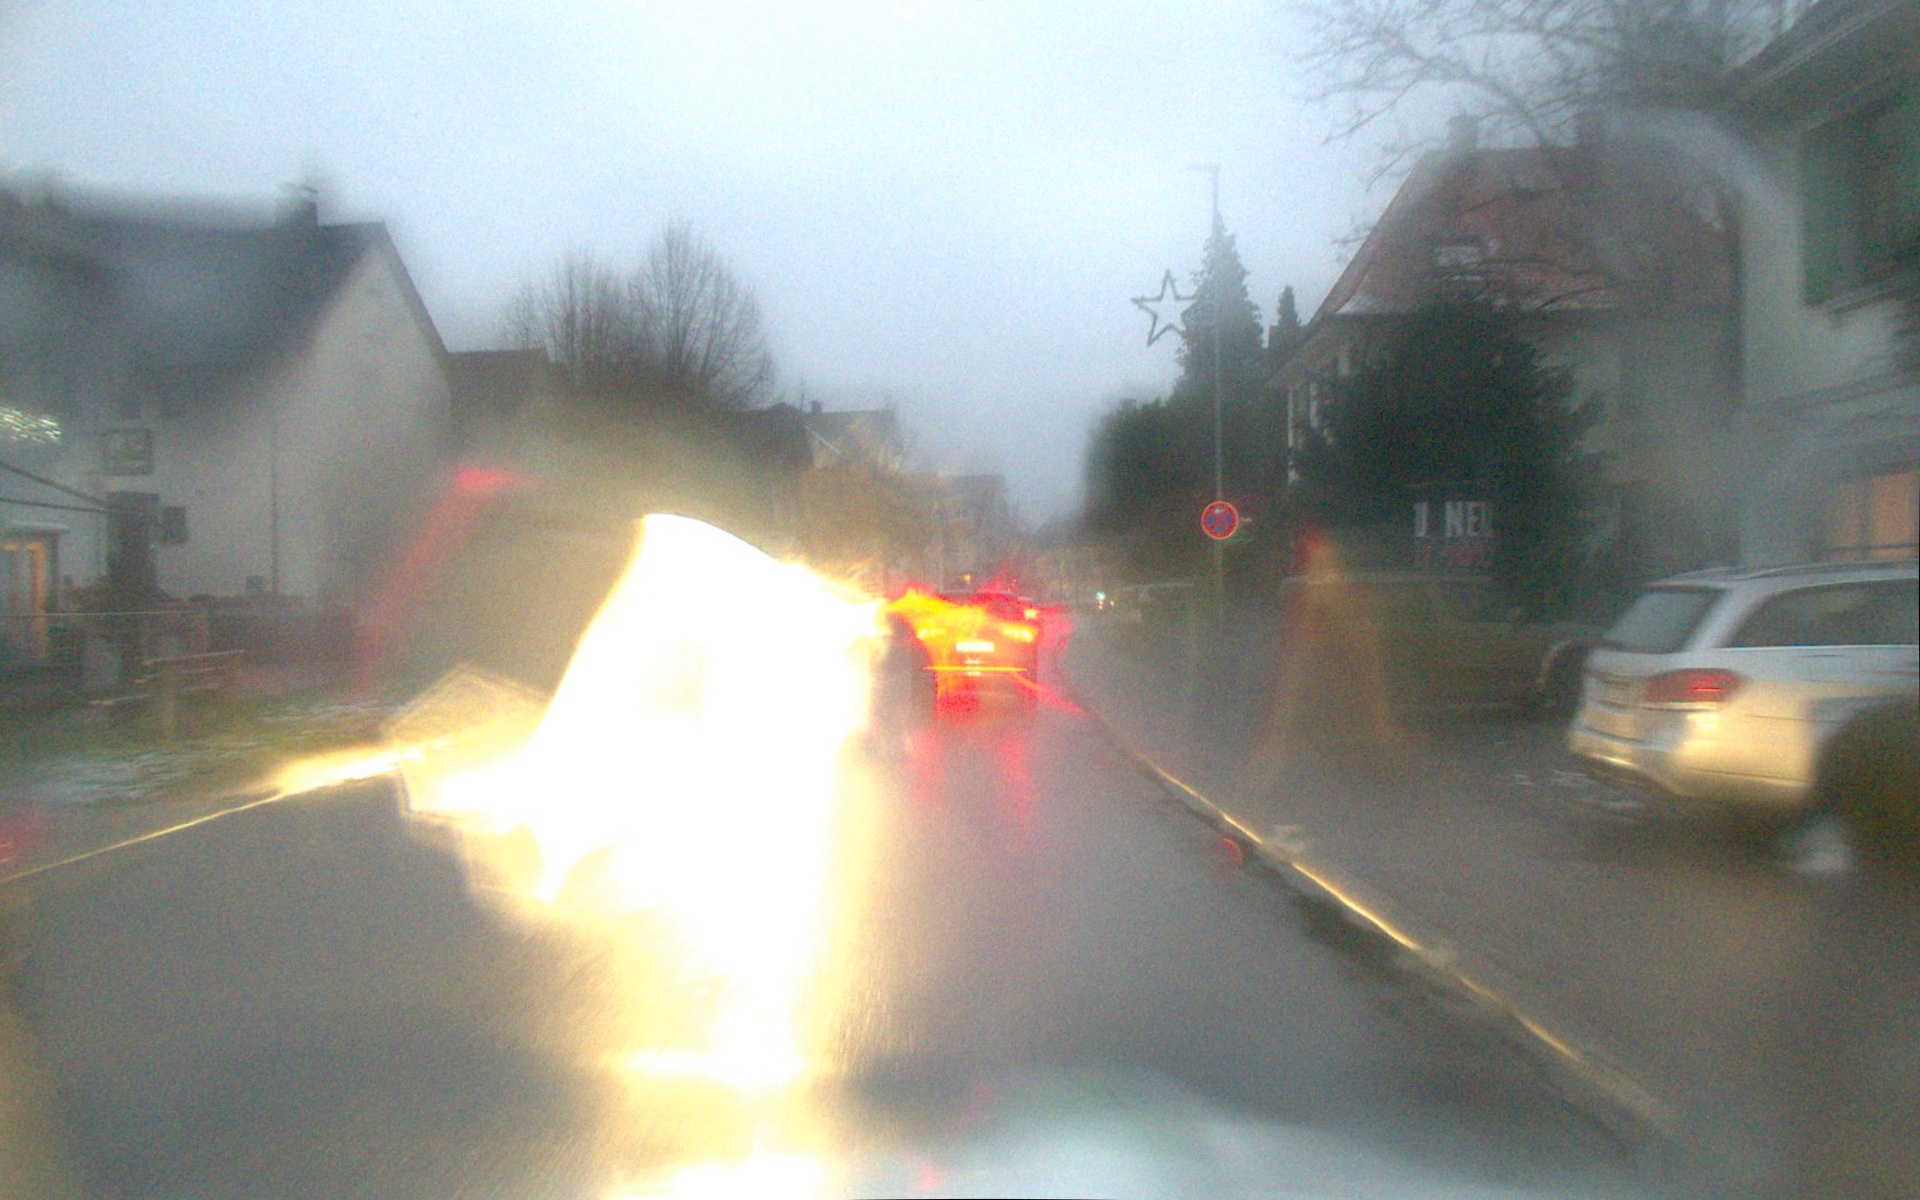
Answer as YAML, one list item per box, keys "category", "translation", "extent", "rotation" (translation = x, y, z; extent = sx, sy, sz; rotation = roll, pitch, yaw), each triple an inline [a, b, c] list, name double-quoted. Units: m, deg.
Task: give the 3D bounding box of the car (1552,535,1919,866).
- category: "car"
  translation: [6.021, 0.441, 9.362]
  extent: [4.634, 1.658, 1.908]
  rotation: [-2, 0, 4]

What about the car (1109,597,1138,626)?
- category: "car"
  translation: [11.789, 0.821, 119.671]
  extent: [1.951, 2.049, 4.002]
  rotation: [-1, 0, 4]

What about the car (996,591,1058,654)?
- category: "car"
  translation: [2.245, 0.757, 56.471]
  extent: [1.953, 2.049, 4.000]
  rotation: [1, 0, 0]

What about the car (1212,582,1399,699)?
- category: "car"
  translation: [5.080, 0.547, 24.935]
  extent: [1.854, 1.581, 4.756]
  rotation: [0, 0, 0]

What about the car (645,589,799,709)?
- category: "car"
  translation: [-3.611, 0.693, 25.758]
  extent: [1.777, 1.661, 4.224]
  rotation: [-2, 0, -1]

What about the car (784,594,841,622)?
- category: "car"
  translation: [-7.506, 0.396, 84.558]
  extent: [1.744, 1.390, 4.003]
  rotation: [0, 0, 13]

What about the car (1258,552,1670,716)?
- category: "car"
  translation: [5.537, 0.371, 18.585]
  extent: [4.018, 1.736, 2.000]
  rotation: [0, -1, -1]

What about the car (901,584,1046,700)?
- category: "car"
  translation: [0.122, 0.562, 24.241]
  extent: [1.953, 1.552, 3.999]
  rotation: [0, 0, -2]

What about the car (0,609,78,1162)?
- category: "car"
  translation: [-3.379, 0.789, 2.554]
  extent: [1.669, 1.466, 4.424]
  rotation: [-2, 0, -1]

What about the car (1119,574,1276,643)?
- category: "car"
  translation: [6.910, 0.247, 48.439]
  extent: [4.234, 1.762, 2.000]
  rotation: [-3, 0, 0]
